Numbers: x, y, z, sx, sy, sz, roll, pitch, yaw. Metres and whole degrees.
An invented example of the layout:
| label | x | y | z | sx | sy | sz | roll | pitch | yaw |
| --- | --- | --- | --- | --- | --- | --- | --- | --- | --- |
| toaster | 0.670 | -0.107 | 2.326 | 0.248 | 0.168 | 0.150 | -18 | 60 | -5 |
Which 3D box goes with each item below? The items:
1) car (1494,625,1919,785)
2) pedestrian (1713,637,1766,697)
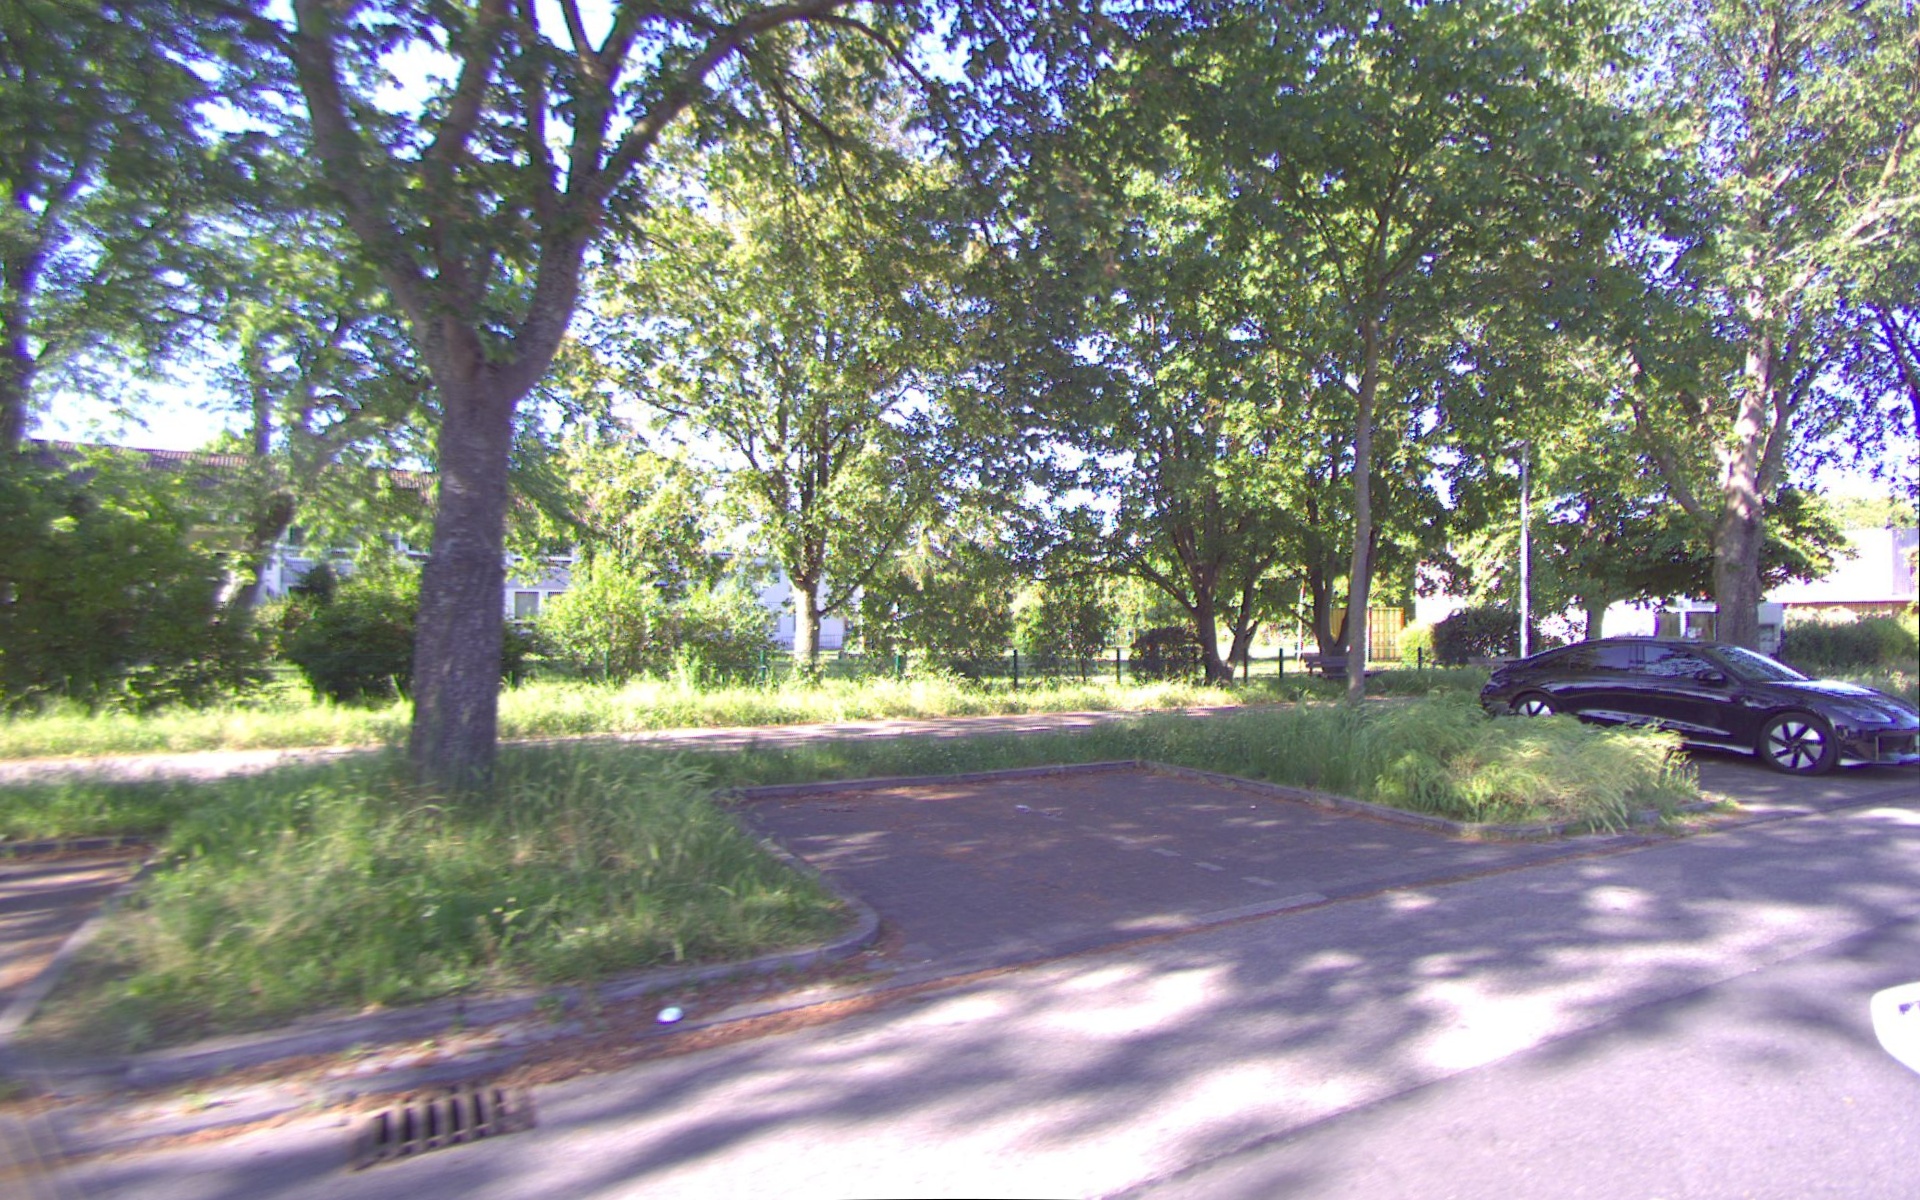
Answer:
| label | x | y | z | sx | sy | sz | roll | pitch | yaw |
| --- | --- | --- | --- | --- | --- | --- | --- | --- | --- |
| car | 9.412 | 1.159 | 12.766 | 1.787 | 1.551 | 4.346 | 2 | -1 | -30 |
| pedestrian | 25.483 | 2.156 | 32.834 | 1.212 | 1.851 | 1.542 | 1 | -1 | 43 |
